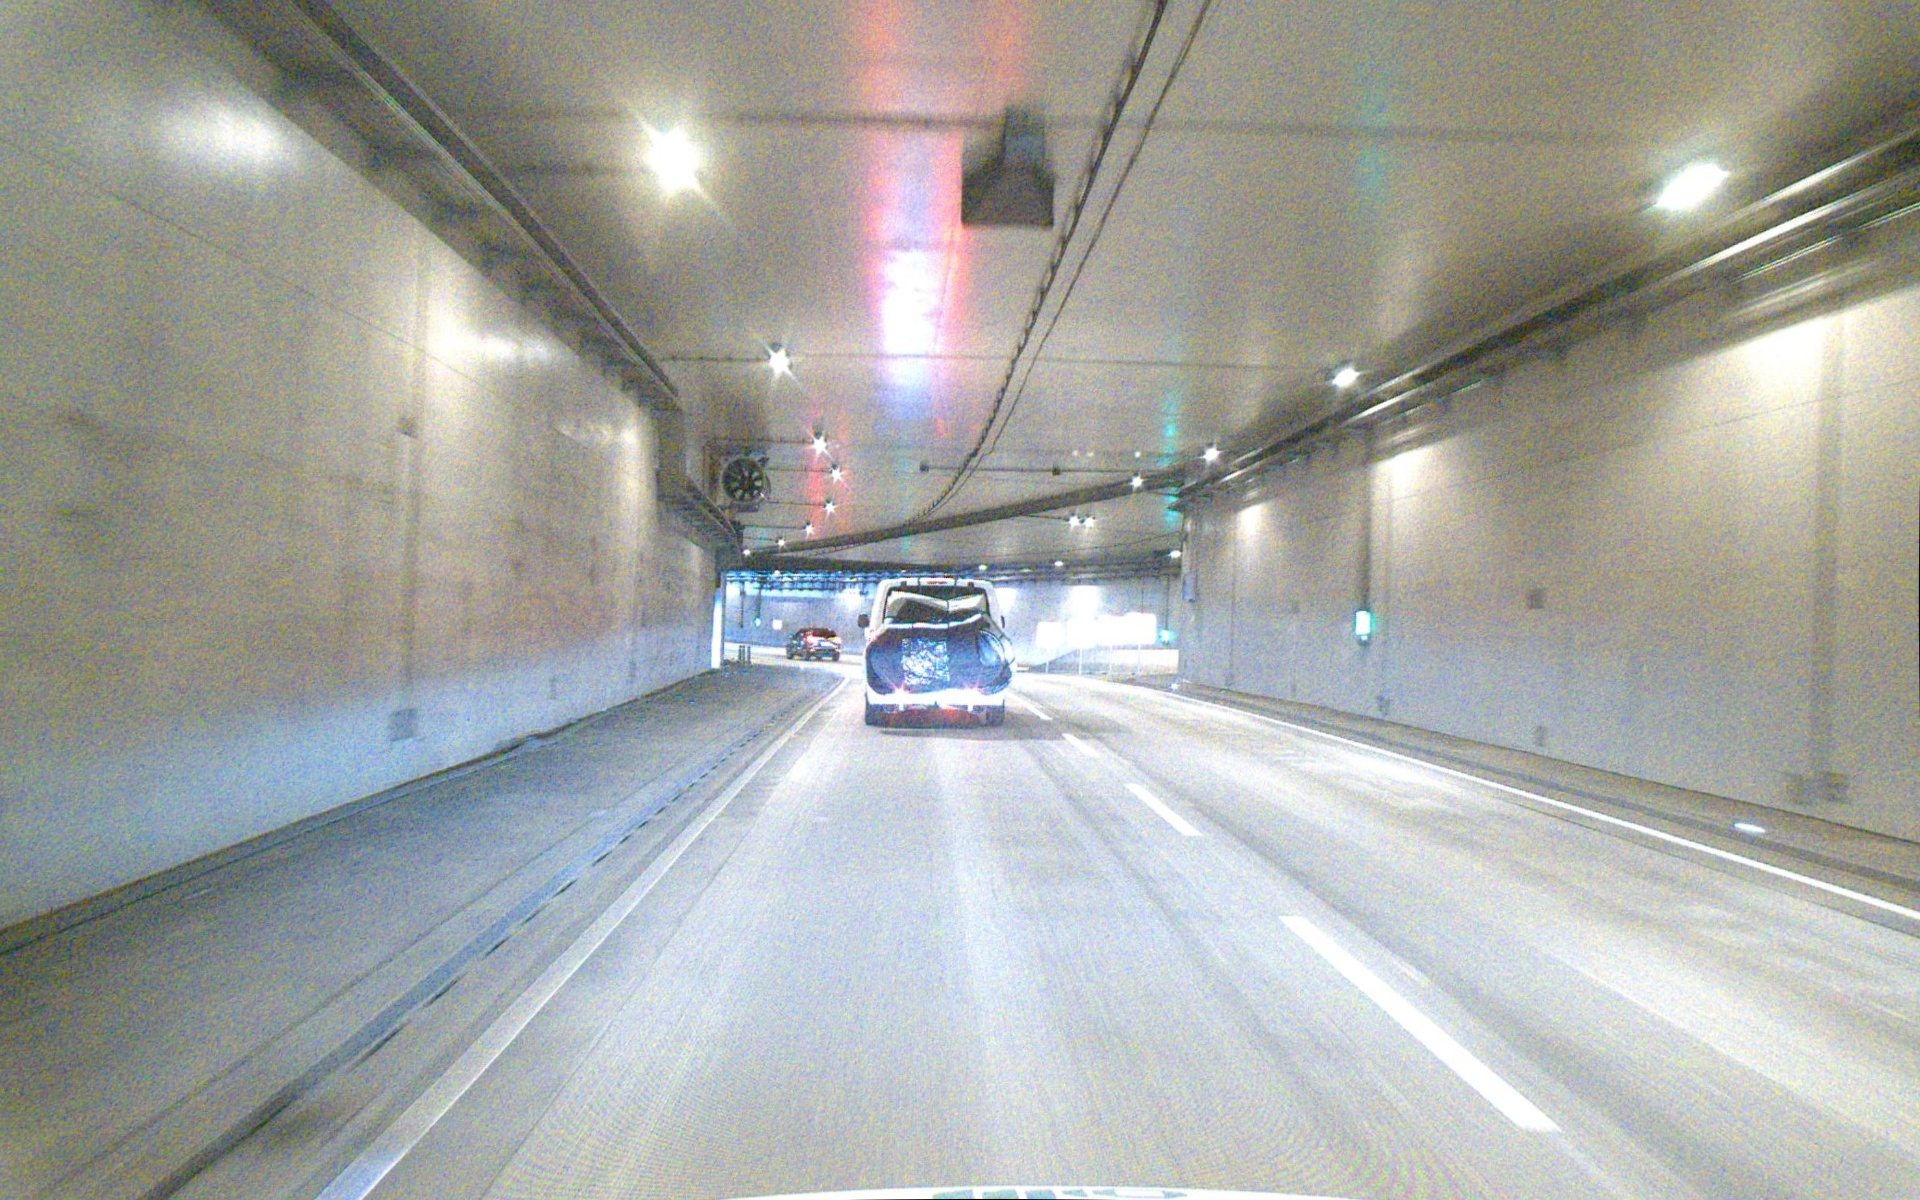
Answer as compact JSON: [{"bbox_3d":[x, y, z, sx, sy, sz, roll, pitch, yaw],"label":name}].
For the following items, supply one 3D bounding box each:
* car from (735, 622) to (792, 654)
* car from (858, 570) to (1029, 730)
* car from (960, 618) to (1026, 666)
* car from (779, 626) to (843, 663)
[{"bbox_3d":[-11.424,2.175,96.048,1.804,1.659,3.803,4,-1,-31],"label":"car"},{"bbox_3d":[-0.352,0.642,22.415,1.954,1.880,5.296,1,-1,-4],"label":"car"},{"bbox_3d":[1.177,1.513,60.868,1.576,1.659,3.342,0,0,-15],"label":"car"},{"bbox_3d":[-7.478,2.208,82.657,1.802,1.659,3.807,4,-1,-29],"label":"car"}]
